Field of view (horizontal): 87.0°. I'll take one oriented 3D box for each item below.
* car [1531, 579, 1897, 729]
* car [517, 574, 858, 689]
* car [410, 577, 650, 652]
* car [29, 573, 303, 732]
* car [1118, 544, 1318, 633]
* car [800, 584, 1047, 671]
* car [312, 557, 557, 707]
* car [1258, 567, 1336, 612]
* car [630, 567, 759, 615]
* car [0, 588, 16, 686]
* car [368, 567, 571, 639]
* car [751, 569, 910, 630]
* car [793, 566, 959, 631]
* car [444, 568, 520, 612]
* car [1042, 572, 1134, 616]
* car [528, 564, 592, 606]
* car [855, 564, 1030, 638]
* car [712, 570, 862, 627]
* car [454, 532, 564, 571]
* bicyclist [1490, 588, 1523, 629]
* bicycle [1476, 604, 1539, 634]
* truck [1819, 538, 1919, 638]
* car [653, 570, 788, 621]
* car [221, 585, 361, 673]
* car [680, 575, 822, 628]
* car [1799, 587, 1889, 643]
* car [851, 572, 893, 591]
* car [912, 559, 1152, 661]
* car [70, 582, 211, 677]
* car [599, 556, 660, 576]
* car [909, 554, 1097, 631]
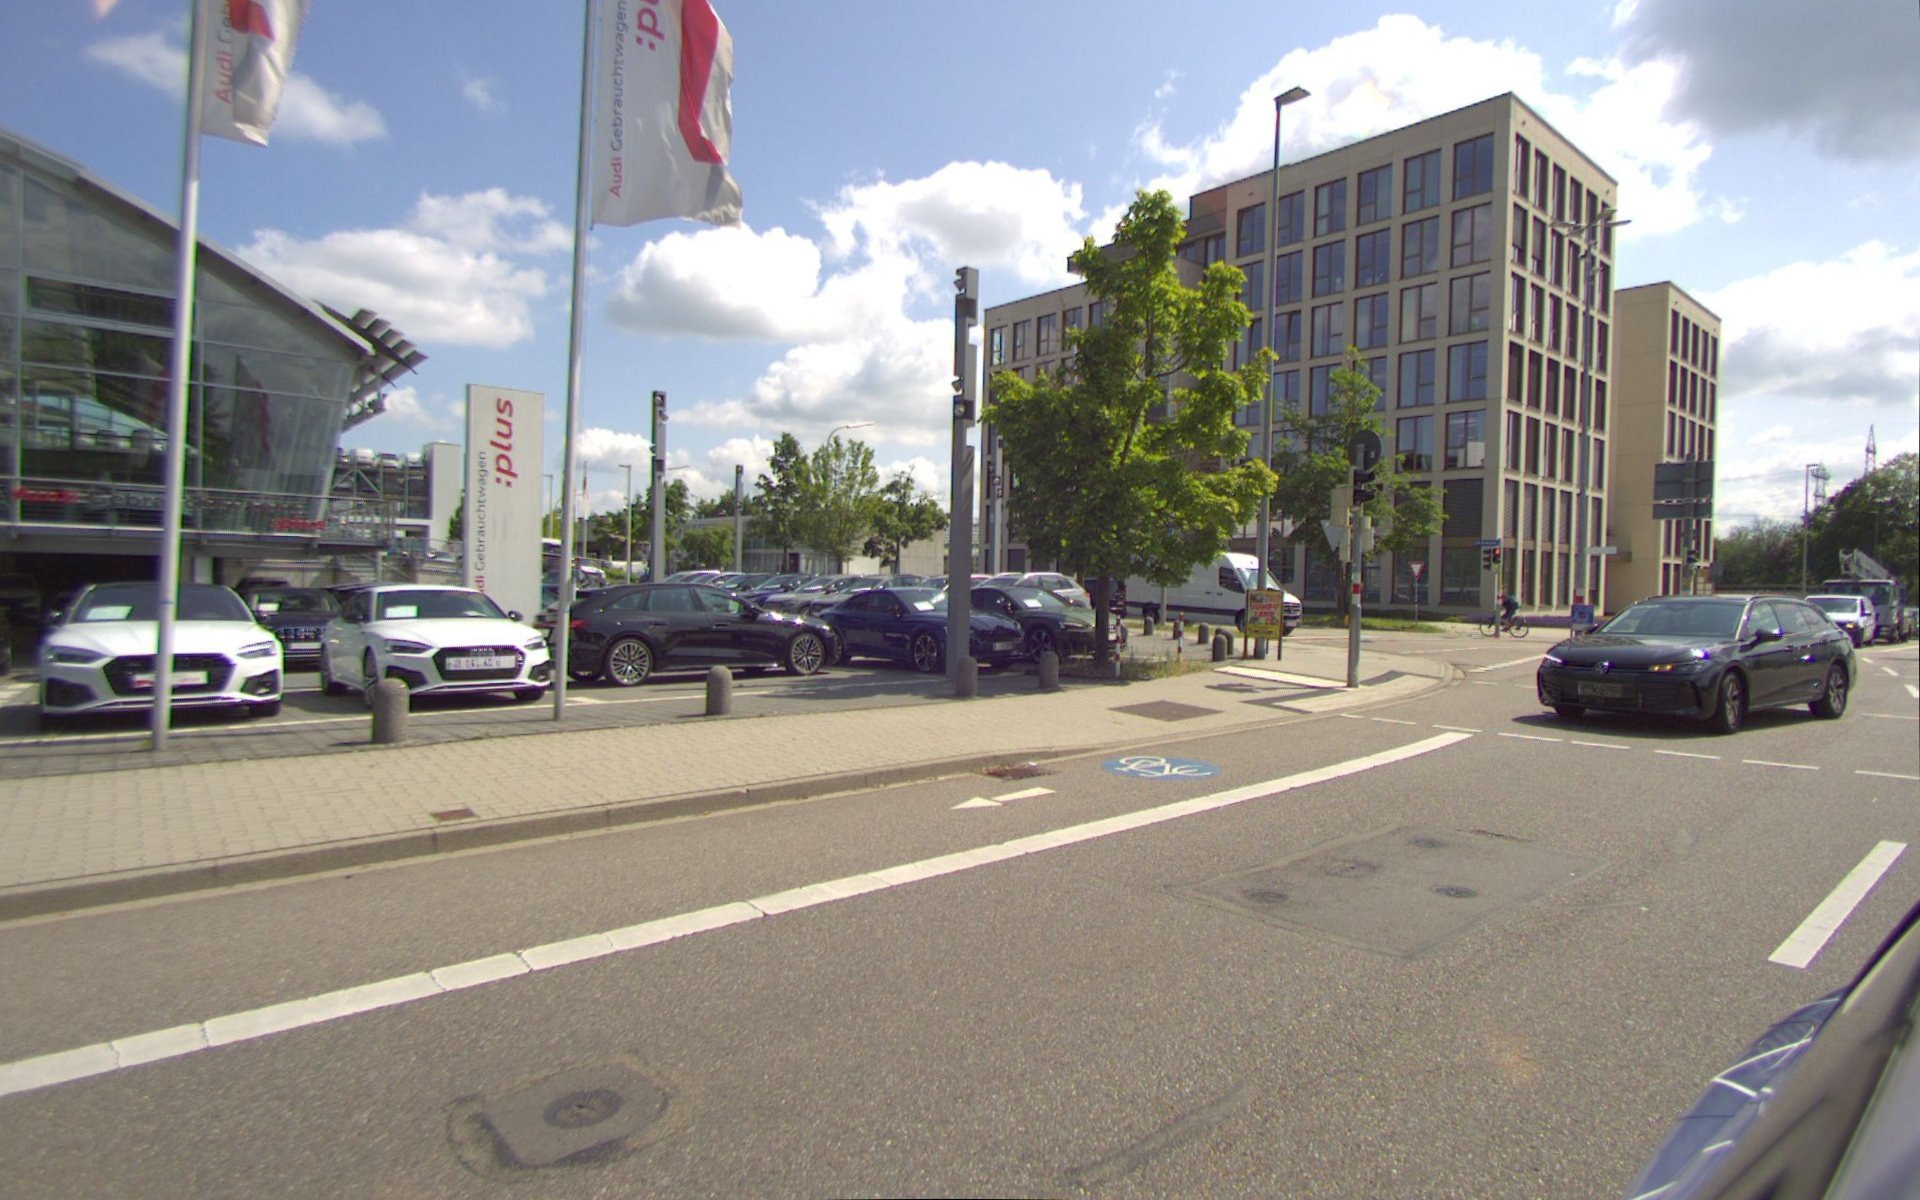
[{"bbox_3d":[9.227,0.572,12.241,5.101,1.497,1.815,1,0,-32],"label":"car"},{"bbox_3d":[-3.986,0.425,15.295,4.671,1.483,1.793,0,-2,-40],"label":"car"},{"bbox_3d":[-9.704,0.319,23.015,4.671,1.530,1.982,0,-2,-40],"label":"car"},{"bbox_3d":[-8.434,0.430,10.721,1.873,1.314,4.583,2,-1,-40],"label":"car"},{"bbox_3d":[8.452,-0.363,34.053,2.098,2.640,6.866,2,-1,-33],"label":"car"},{"bbox_3d":[-0.777,0.407,17.677,1.873,1.314,4.583,2,-1,-40],"label":"car"},{"bbox_3d":[-6.423,0.368,12.144,1.764,1.483,3.993,0,-2,-40],"label":"car"},{"bbox_3d":[16.380,-0.479,49.136,3.933,2.039,1.995,2,-1,-44],"label":"car"},{"bbox_3d":[-10.395,-0.310,39.770,4.507,1.699,1.905,2,-1,-39],"label":"car"},{"bbox_3d":[-17.584,0.601,17.329,1.874,1.517,4.355,0,2,-40],"label":"car"},{"bbox_3d":[-13.015,0.110,27.026,4.475,1.763,1.996,2,-1,-43],"label":"car"},{"bbox_3d":[-3.949,0.017,31.287,4.507,1.699,1.905,2,-1,-39],"label":"car"},{"bbox_3d":[-2.381,-0.011,29.390,4.507,1.699,1.905,2,-1,-39],"label":"car"},{"bbox_3d":[-20.179,-0.406,42.897,1.867,1.699,4.598,2,-1,-12],"label":"car"},{"bbox_3d":[5.936,-0.294,47.223,1.798,1.929,3.992,2,0,-43],"label":"car"},{"bbox_3d":[-17.569,-0.617,44.654,1.867,1.699,4.598,2,-1,-12],"label":"car"},{"bbox_3d":[-0.415,-0.042,27.356,4.509,1.698,1.905,-4,3,-39],"label":"car"},{"bbox_3d":[-5.681,-0.016,33.495,4.507,1.699,1.905,2,-1,-39],"label":"car"},{"bbox_3d":[-29.350,-3.142,66.022,6.296,2.129,1.762,2,-1,-41],"label":"car"},{"bbox_3d":[20.369,0.301,37.724,0.627,1.496,0.914,3,-1,-43],"label":"bicyclist"},{"bbox_3d":[20.375,0.696,37.690,0.638,1.024,1.974,2,-1,-43],"label":"bicycle"},{"bbox_3d":[37.307,-0.325,41.094,9.618,3.600,2.669,2,-1,-44],"label":"truck"},{"bbox_3d":[-8.870,-0.142,37.673,4.507,1.699,1.905,2,-1,-39],"label":"car"},{"bbox_3d":[-13.672,0.499,20.563,1.874,1.517,4.355,0,2,-40],"label":"car"},{"bbox_3d":[-7.316,0.088,35.599,4.507,1.699,1.905,2,-1,-39],"label":"car"},{"bbox_3d":[31.682,0.556,36.212,4.908,1.861,1.995,2,-1,-44],"label":"car"},{"bbox_3d":[-8.265,-1.708,94.969,1.965,1.705,3.994,2,-1,-41],"label":"car"},{"bbox_3d":[1.237,0.167,19.272,1.873,1.699,4.583,2,-1,-40],"label":"car"},{"bbox_3d":[-15.480,0.458,19.092,1.874,1.517,4.355,0,2,-40],"label":"car"},{"bbox_3d":[-38.414,-3.921,117.710,6.245,2.039,2.571,2,-1,-38],"label":"car"},{"bbox_3d":[1.126,-0.143,25.036,4.507,1.699,1.905,2,-1,-39],"label":"car"}]
